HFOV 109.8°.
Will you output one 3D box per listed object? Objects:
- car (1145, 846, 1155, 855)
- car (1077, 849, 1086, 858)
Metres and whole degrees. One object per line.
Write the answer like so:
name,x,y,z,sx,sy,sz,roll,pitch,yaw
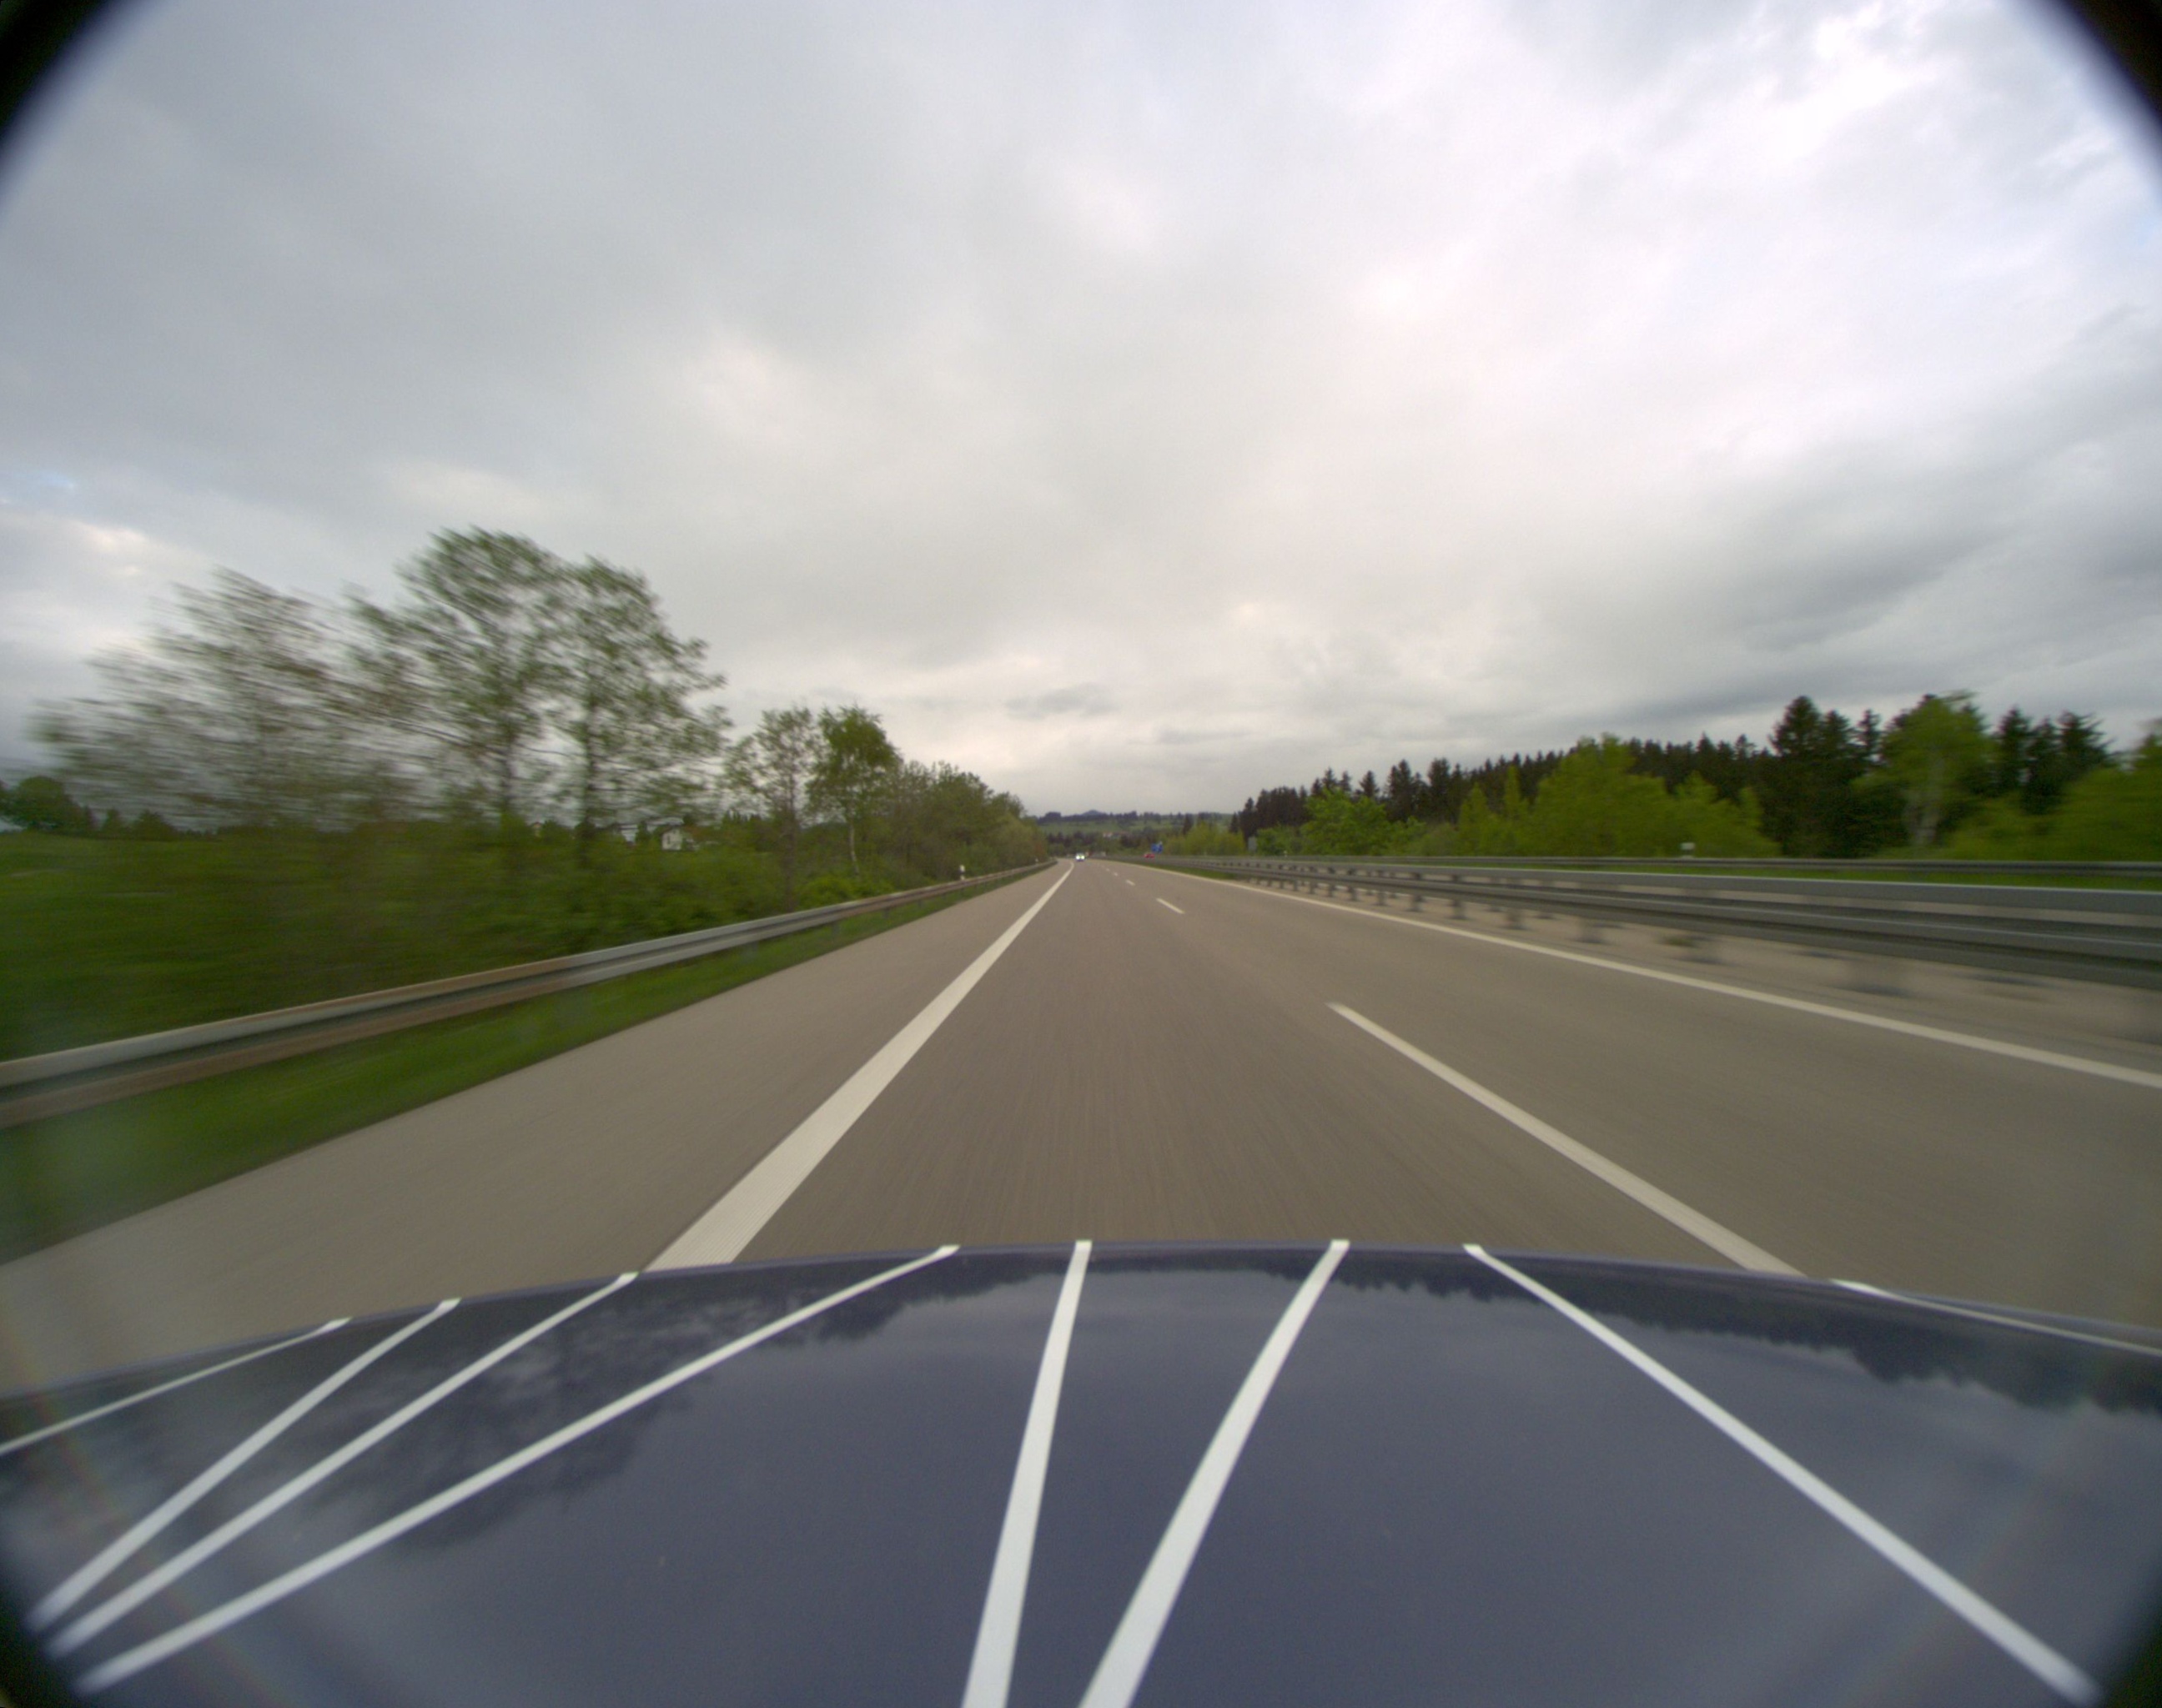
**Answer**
car,16.009,-0.921,176.010,1.998,2.002,4.001,-2,0,4
car,0.198,-0.085,182.570,2.021,1.899,4.220,-2,0,0
